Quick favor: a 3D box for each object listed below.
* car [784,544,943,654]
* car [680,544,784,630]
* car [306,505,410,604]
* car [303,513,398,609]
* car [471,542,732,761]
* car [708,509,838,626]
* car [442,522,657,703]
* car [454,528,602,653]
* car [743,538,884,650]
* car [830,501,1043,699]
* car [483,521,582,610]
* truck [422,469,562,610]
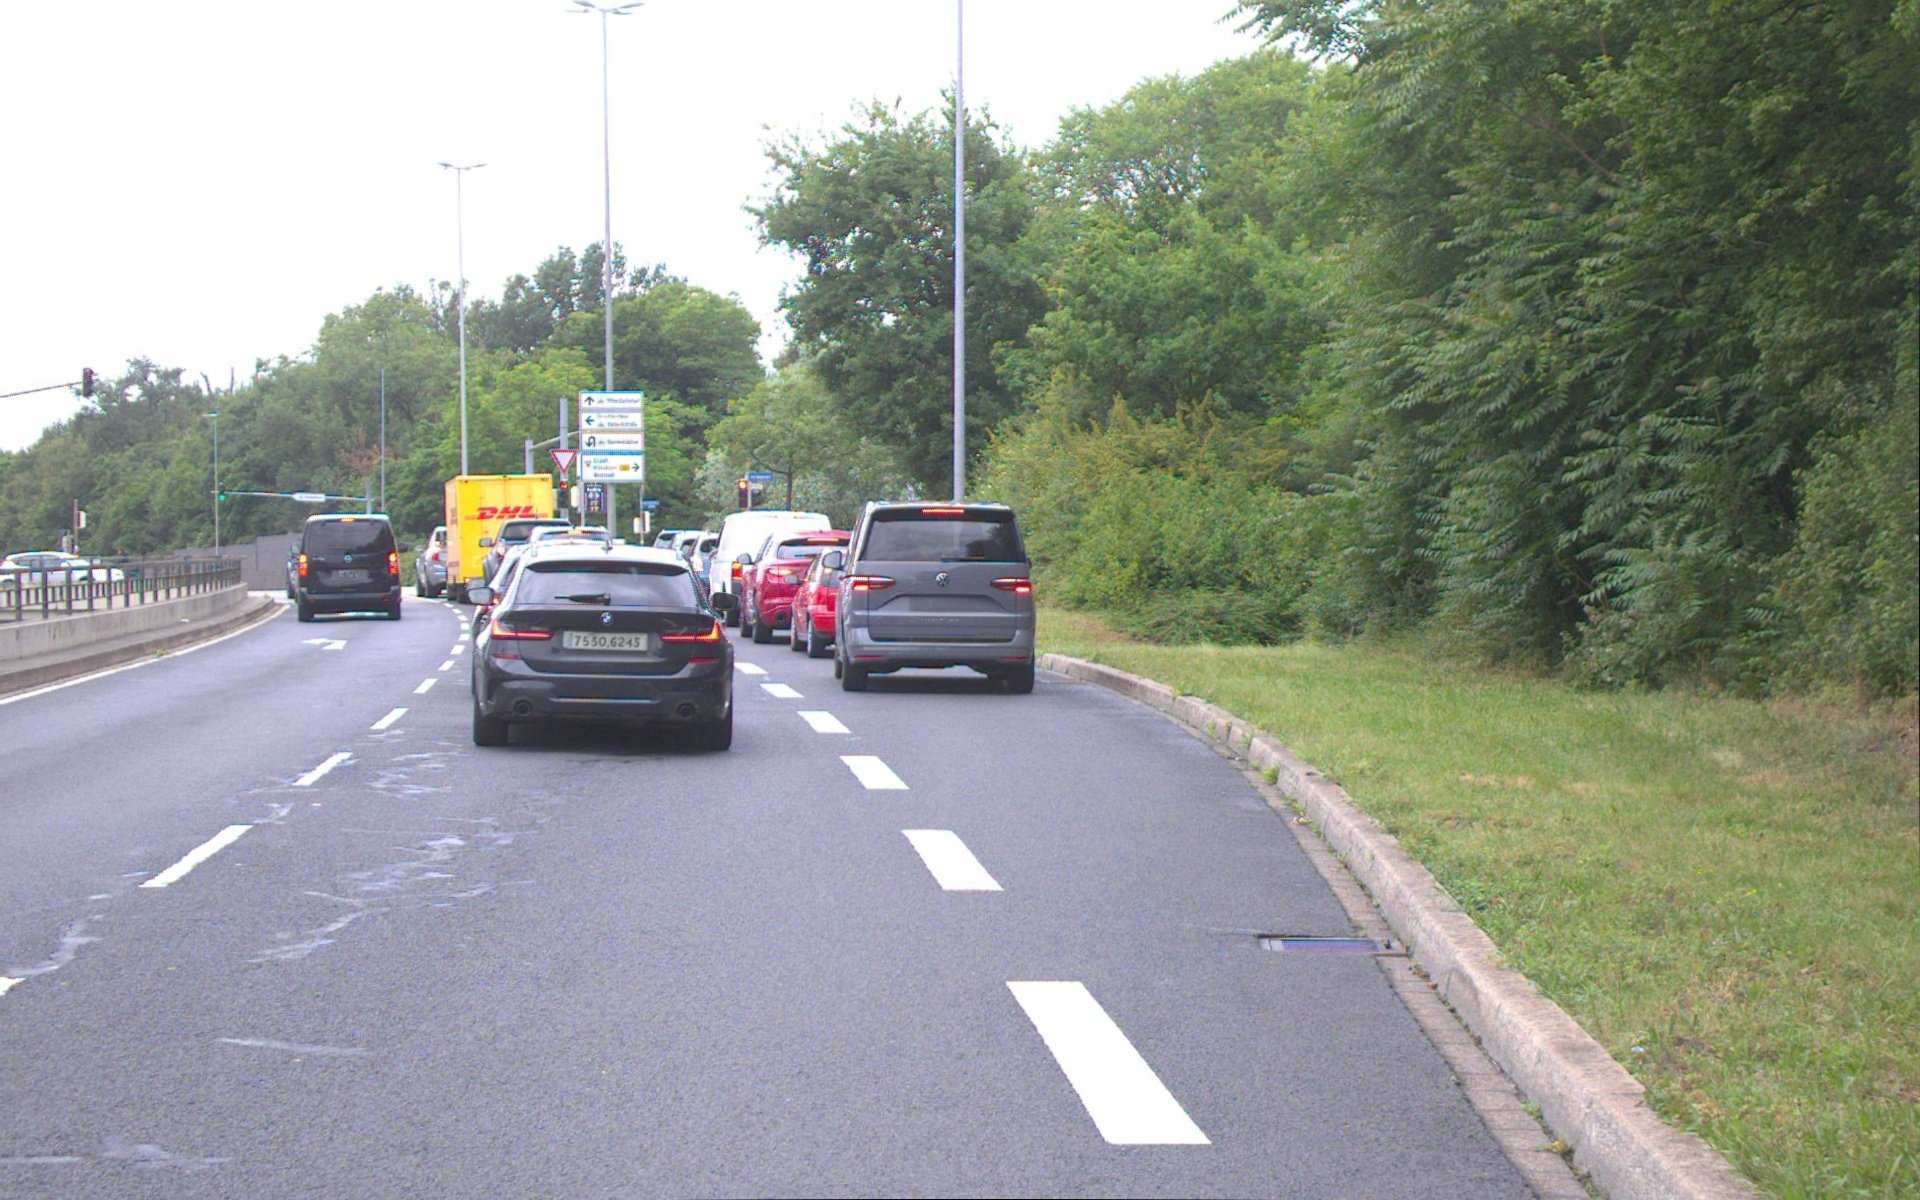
[{"bbox_3d":[-1.317,-0.033,45.166,1.884,1.351,4.001,1,0,-4],"label":"car"},{"bbox_3d":[-4.358,-0.256,65.434,1.884,1.540,4.001,1,0,-4],"label":"car"},{"bbox_3d":[-12.587,-0.938,72.076,1.884,1.981,4.431,1,0,-7],"label":"car"},{"bbox_3d":[-11.309,-0.727,63.991,1.623,1.696,4.297,1,0,-9],"label":"car"},{"bbox_3d":[-2.627,0.306,25.375,1.748,1.421,4.463,0,2,-6],"label":"car"},{"bbox_3d":[-3.234,-0.553,58.703,1.884,1.873,4.431,1,0,-7],"label":"car"},{"bbox_3d":[-3.950,0.093,33.036,1.884,1.587,4.431,1,0,-7],"label":"car"},{"bbox_3d":[-5.905,-0.143,47.038,1.884,1.587,4.431,1,0,-7],"label":"car"},{"bbox_3d":[-2.184,-0.103,50.326,1.884,1.540,4.001,1,0,-5],"label":"car"},{"bbox_3d":[-0.309,-0.019,35.418,1.898,1.878,4.416,1,0,-4],"label":"car"},{"bbox_3d":[-8.604,-0.697,69.150,1.884,1.694,4.431,1,0,-7],"label":"car"},{"bbox_3d":[-10.898,-1.340,79.453,2.921,3.033,9.345,-1,0,-9],"label":"truck"}]
